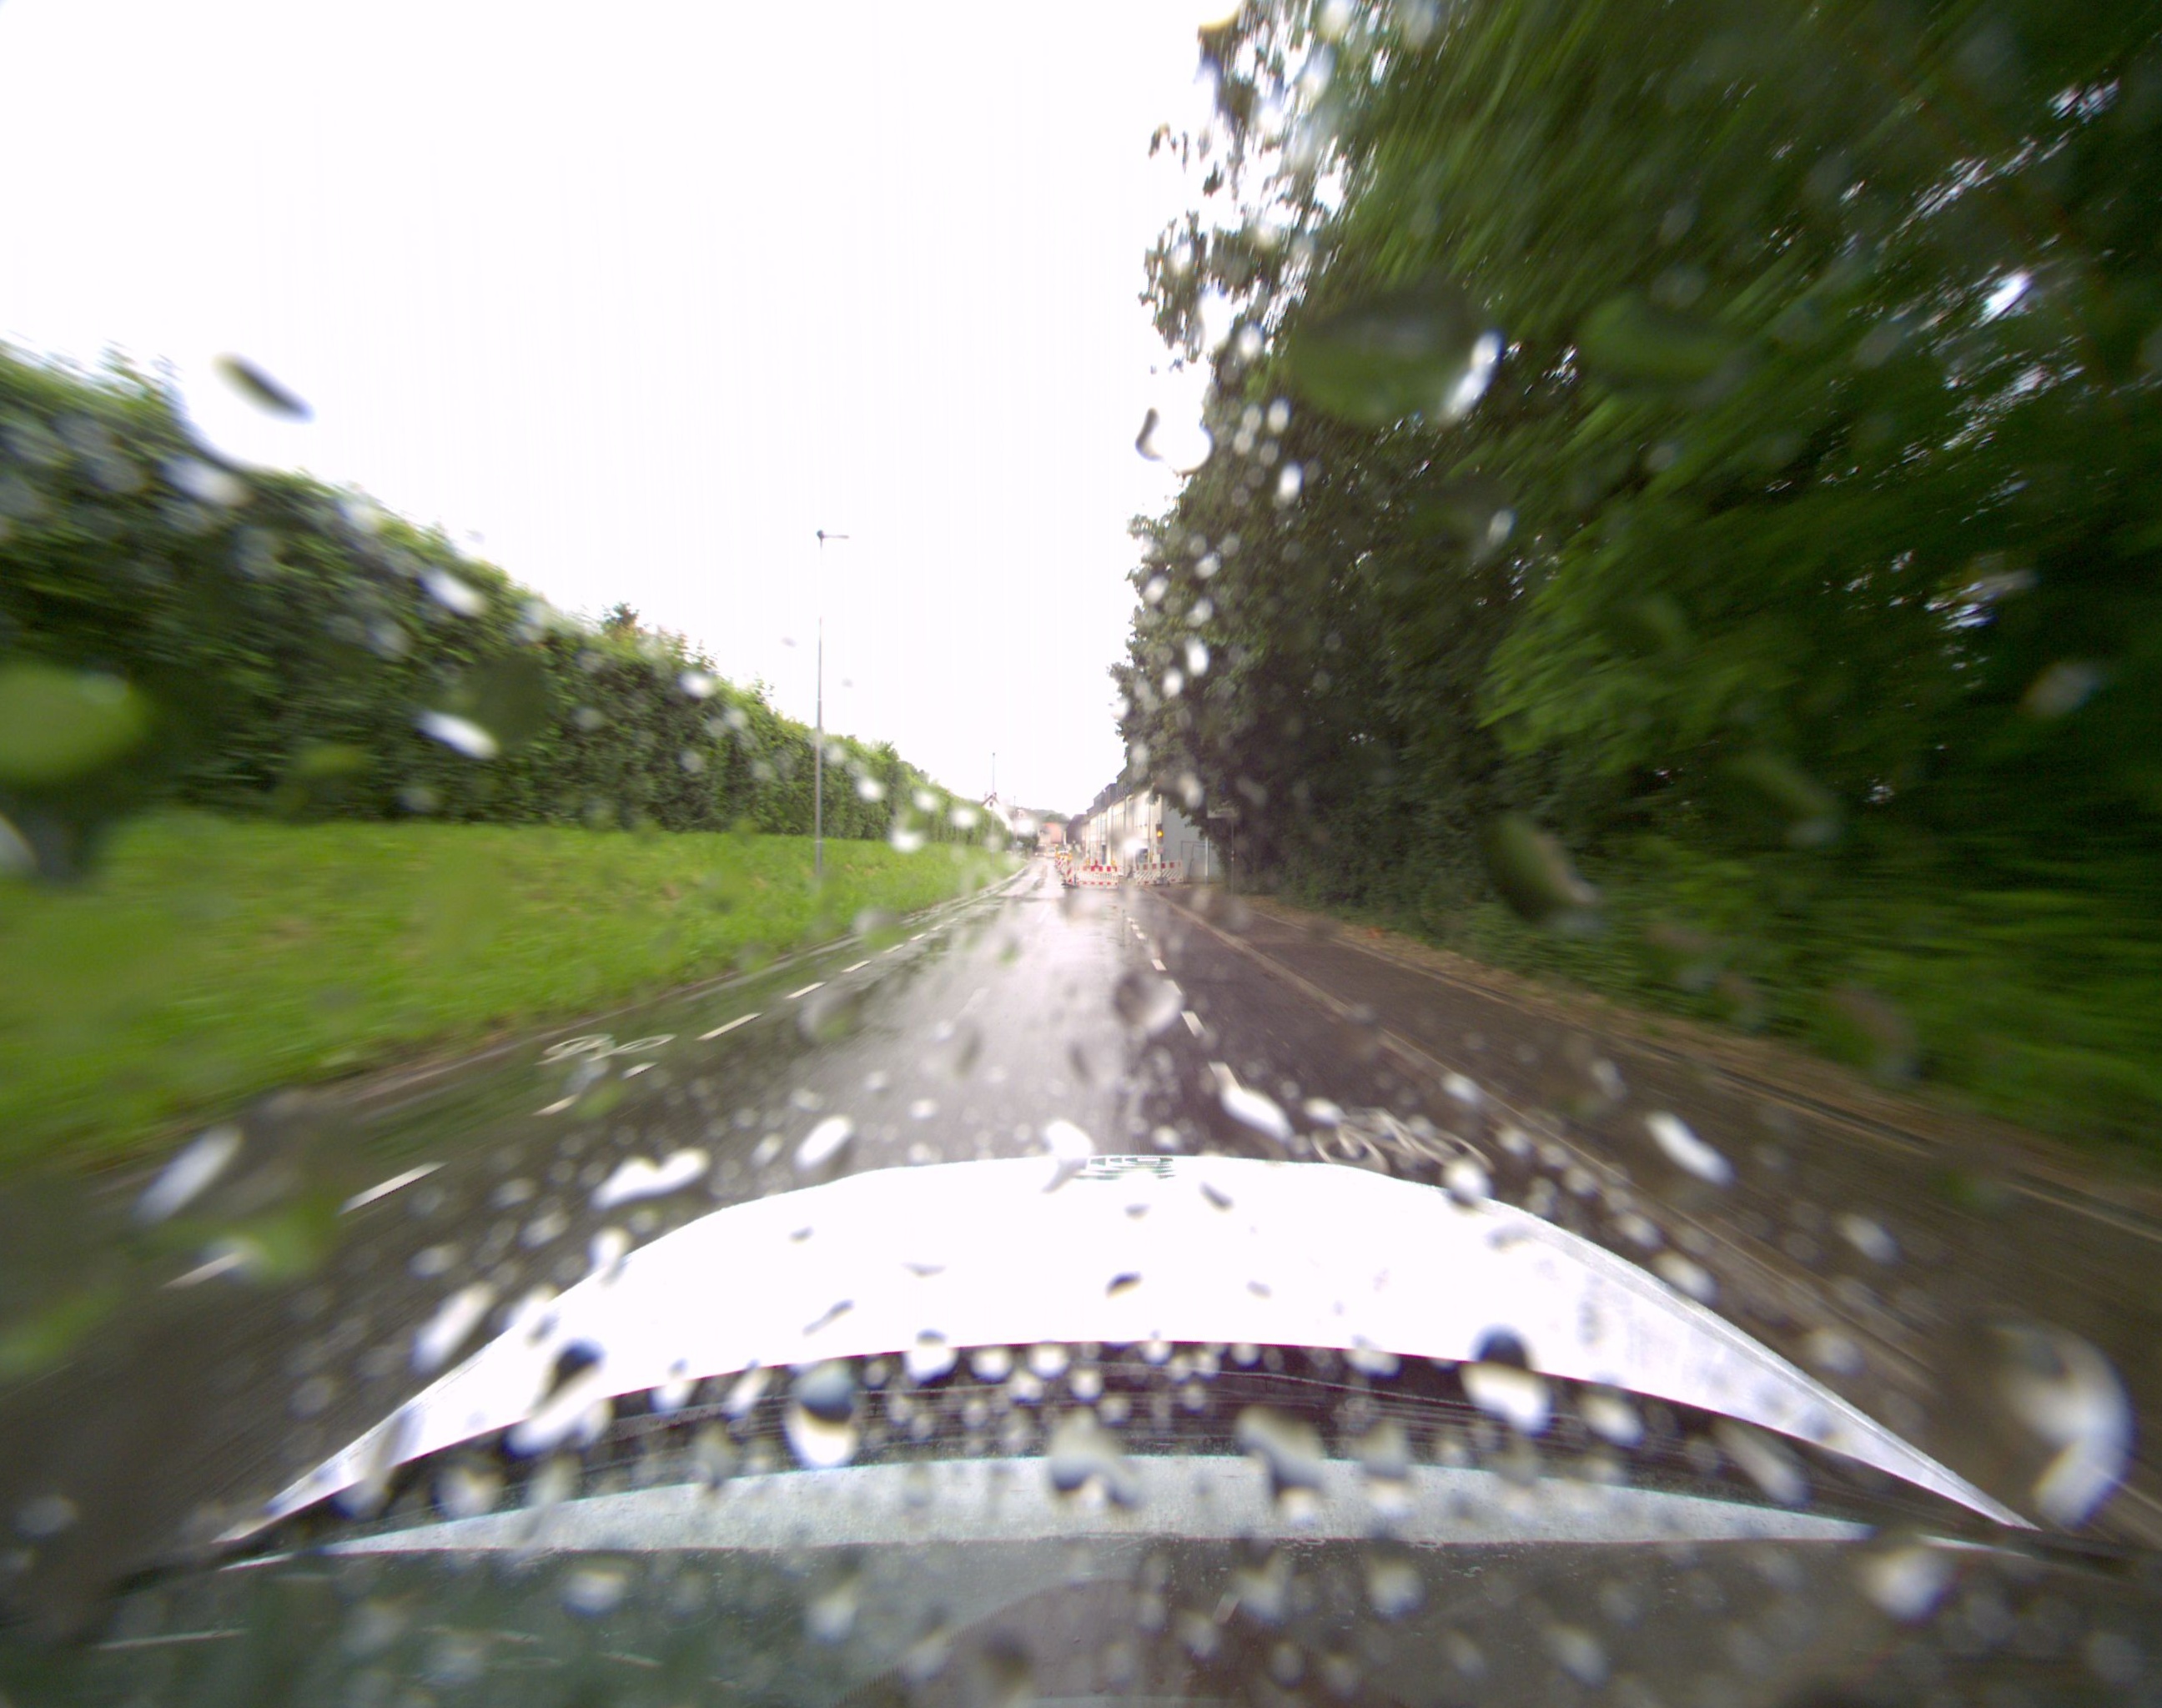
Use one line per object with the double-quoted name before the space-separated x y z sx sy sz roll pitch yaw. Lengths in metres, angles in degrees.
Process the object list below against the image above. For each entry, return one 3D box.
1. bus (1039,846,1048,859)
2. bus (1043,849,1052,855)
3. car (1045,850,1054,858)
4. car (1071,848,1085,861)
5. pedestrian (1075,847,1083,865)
"bus" -9.389 -0.297 203.726 2.236 3.103 7.022 -2 0 -3
"bus" -7.607 -0.438 185.782 1.789 1.409 3.999 2 0 0
"car" -6.441 -0.053 165.675 1.814 1.642 4.092 -2 0 -2
"car" -0.423 0.010 118.850 1.899 1.772 3.884 -3 0 -2
"pedestrian" -0.205 0.205 80.549 0.664 1.755 0.811 1 0 -4
